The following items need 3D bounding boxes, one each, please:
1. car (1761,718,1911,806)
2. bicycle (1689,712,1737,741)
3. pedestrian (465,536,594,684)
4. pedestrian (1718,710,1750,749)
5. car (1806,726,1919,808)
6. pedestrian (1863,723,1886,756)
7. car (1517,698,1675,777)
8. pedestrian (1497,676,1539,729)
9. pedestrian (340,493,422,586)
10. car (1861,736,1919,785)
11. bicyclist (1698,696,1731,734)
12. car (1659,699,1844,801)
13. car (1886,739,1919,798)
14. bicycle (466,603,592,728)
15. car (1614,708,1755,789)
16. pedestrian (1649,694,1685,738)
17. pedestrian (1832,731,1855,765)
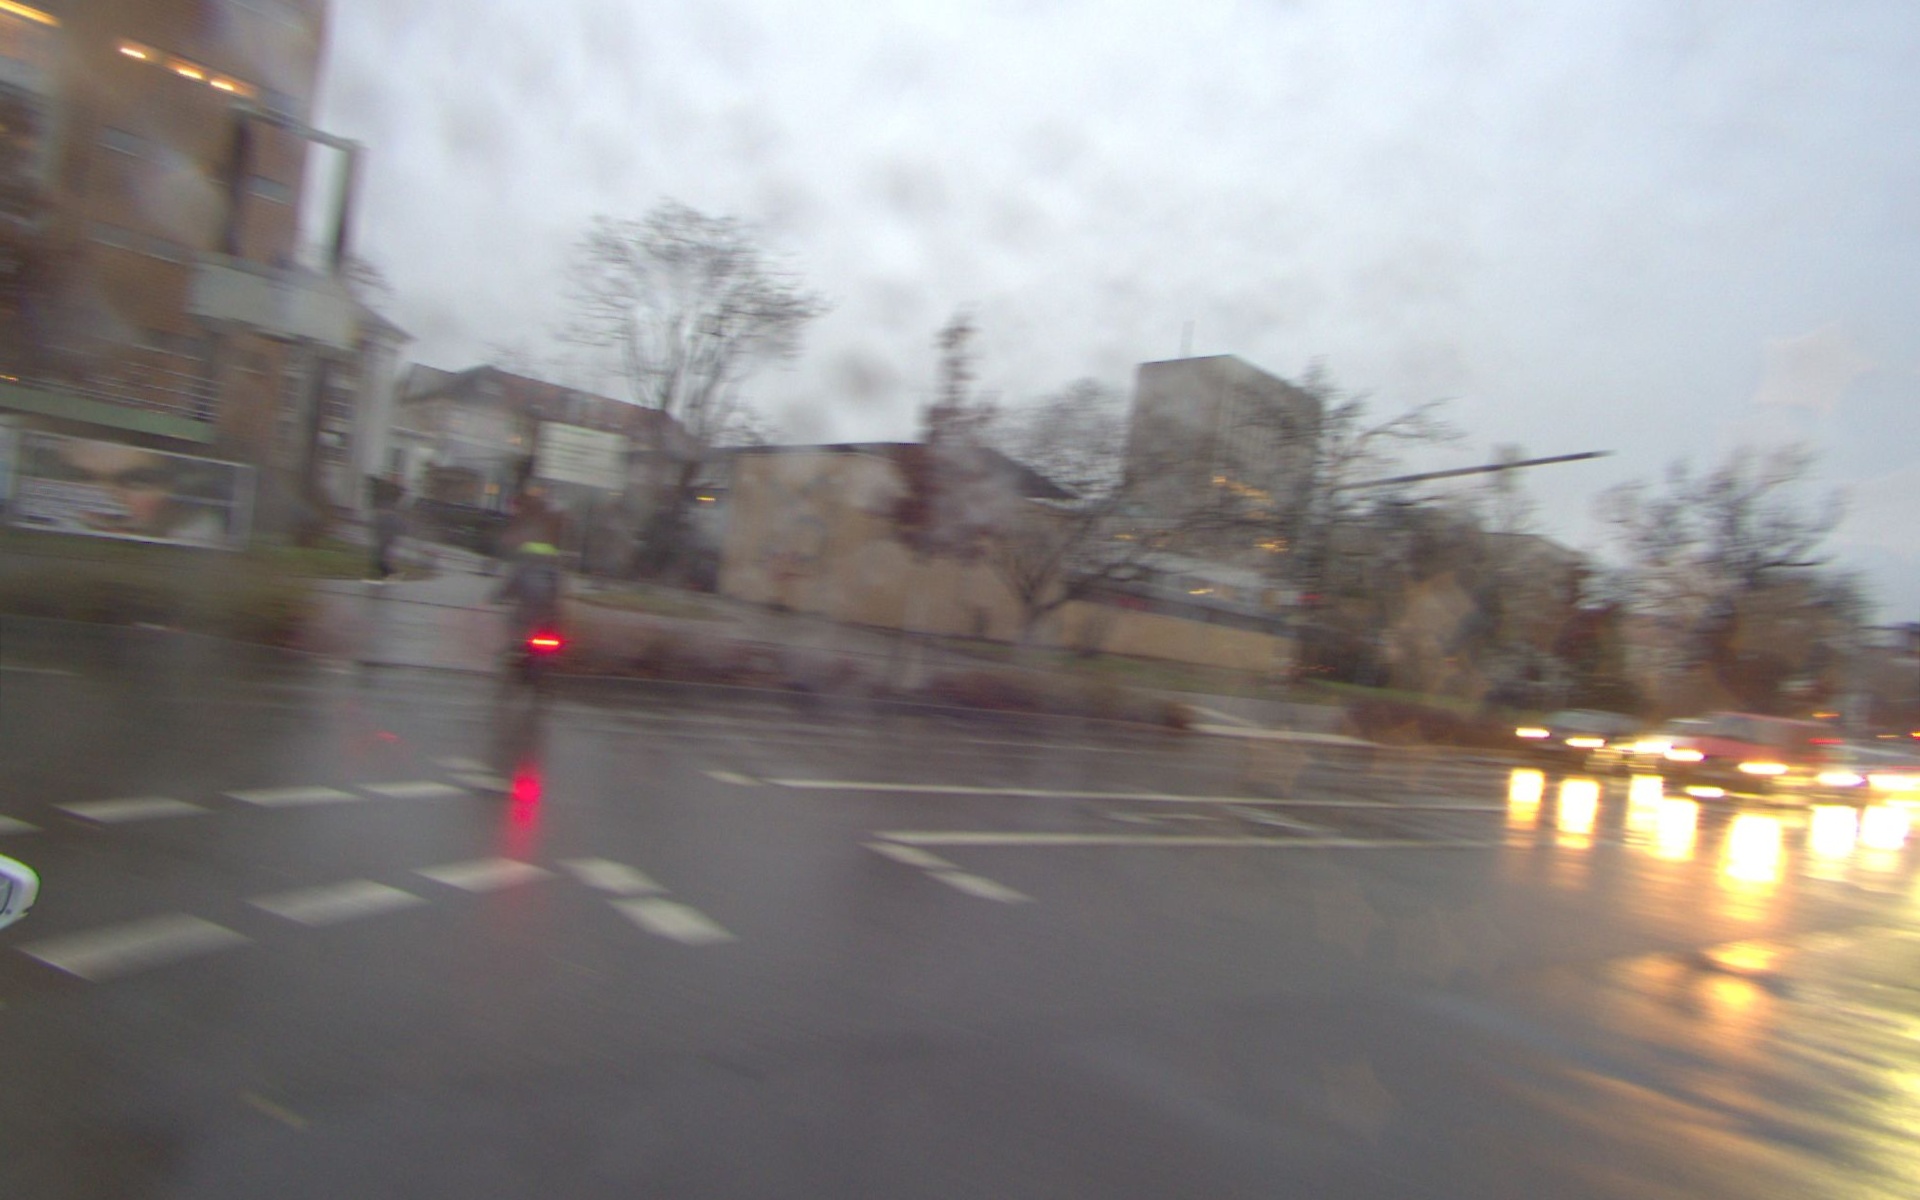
[{"bbox_3d":[23.150,4.271,26.543,4.434,1.771,1.979,8,1,-37],"label":"car"},{"bbox_3d":[32.772,5.522,43.764,2.878,1.028,0.786,8,1,-37],"label":"bicycle"},{"bbox_3d":[-4.362,0.100,10.184,0.871,1.333,0.838,6,2,-41],"label":"pedestrian"},{"bbox_3d":[40.886,6.829,53.125,0.827,1.849,0.923,7,2,-37],"label":"pedestrian"},{"bbox_3d":[26.930,4.935,29.663,3.966,1.927,1.980,8,1,-36],"label":"car"},{"bbox_3d":[55.309,8.427,60.840,0.929,1.823,0.618,7,2,-35],"label":"pedestrian"},{"bbox_3d":[15.858,3.436,24.997,4.434,1.505,1.756,8,1,-37],"label":"car"},{"bbox_3d":[21.481,3.950,38.727,0.827,1.849,0.923,7,2,-37],"label":"pedestrian"},{"bbox_3d":[-12.025,-1.237,20.900,0.896,1.708,0.927,11,2,24],"label":"pedestrian"},{"bbox_3d":[41.776,7.103,44.509,3.967,1.688,1.979,8,1,-37],"label":"car"},{"bbox_3d":[32.796,4.988,43.724,0.986,1.508,0.760,6,2,-37],"label":"bicyclist"},{"bbox_3d":[18.064,3.423,22.874,4.905,1.771,1.979,8,1,-37],"label":"car"},{"bbox_3d":[33.193,5.856,33.989,3.967,1.793,1.979,8,0,-37],"label":"car"},{"bbox_3d":[-4.502,0.641,10.408,0.559,0.958,2.071,7,1,-39],"label":"bicycle"},{"bbox_3d":[21.141,4.347,29.321,3.965,1.860,1.980,8,1,-36],"label":"car"},{"bbox_3d":[33.159,5.440,47.175,0.827,1.849,0.923,7,2,-37],"label":"pedestrian"},{"bbox_3d":[57.759,9.677,65.750,0.767,2.039,0.757,6,2,-38],"label":"pedestrian"}]
